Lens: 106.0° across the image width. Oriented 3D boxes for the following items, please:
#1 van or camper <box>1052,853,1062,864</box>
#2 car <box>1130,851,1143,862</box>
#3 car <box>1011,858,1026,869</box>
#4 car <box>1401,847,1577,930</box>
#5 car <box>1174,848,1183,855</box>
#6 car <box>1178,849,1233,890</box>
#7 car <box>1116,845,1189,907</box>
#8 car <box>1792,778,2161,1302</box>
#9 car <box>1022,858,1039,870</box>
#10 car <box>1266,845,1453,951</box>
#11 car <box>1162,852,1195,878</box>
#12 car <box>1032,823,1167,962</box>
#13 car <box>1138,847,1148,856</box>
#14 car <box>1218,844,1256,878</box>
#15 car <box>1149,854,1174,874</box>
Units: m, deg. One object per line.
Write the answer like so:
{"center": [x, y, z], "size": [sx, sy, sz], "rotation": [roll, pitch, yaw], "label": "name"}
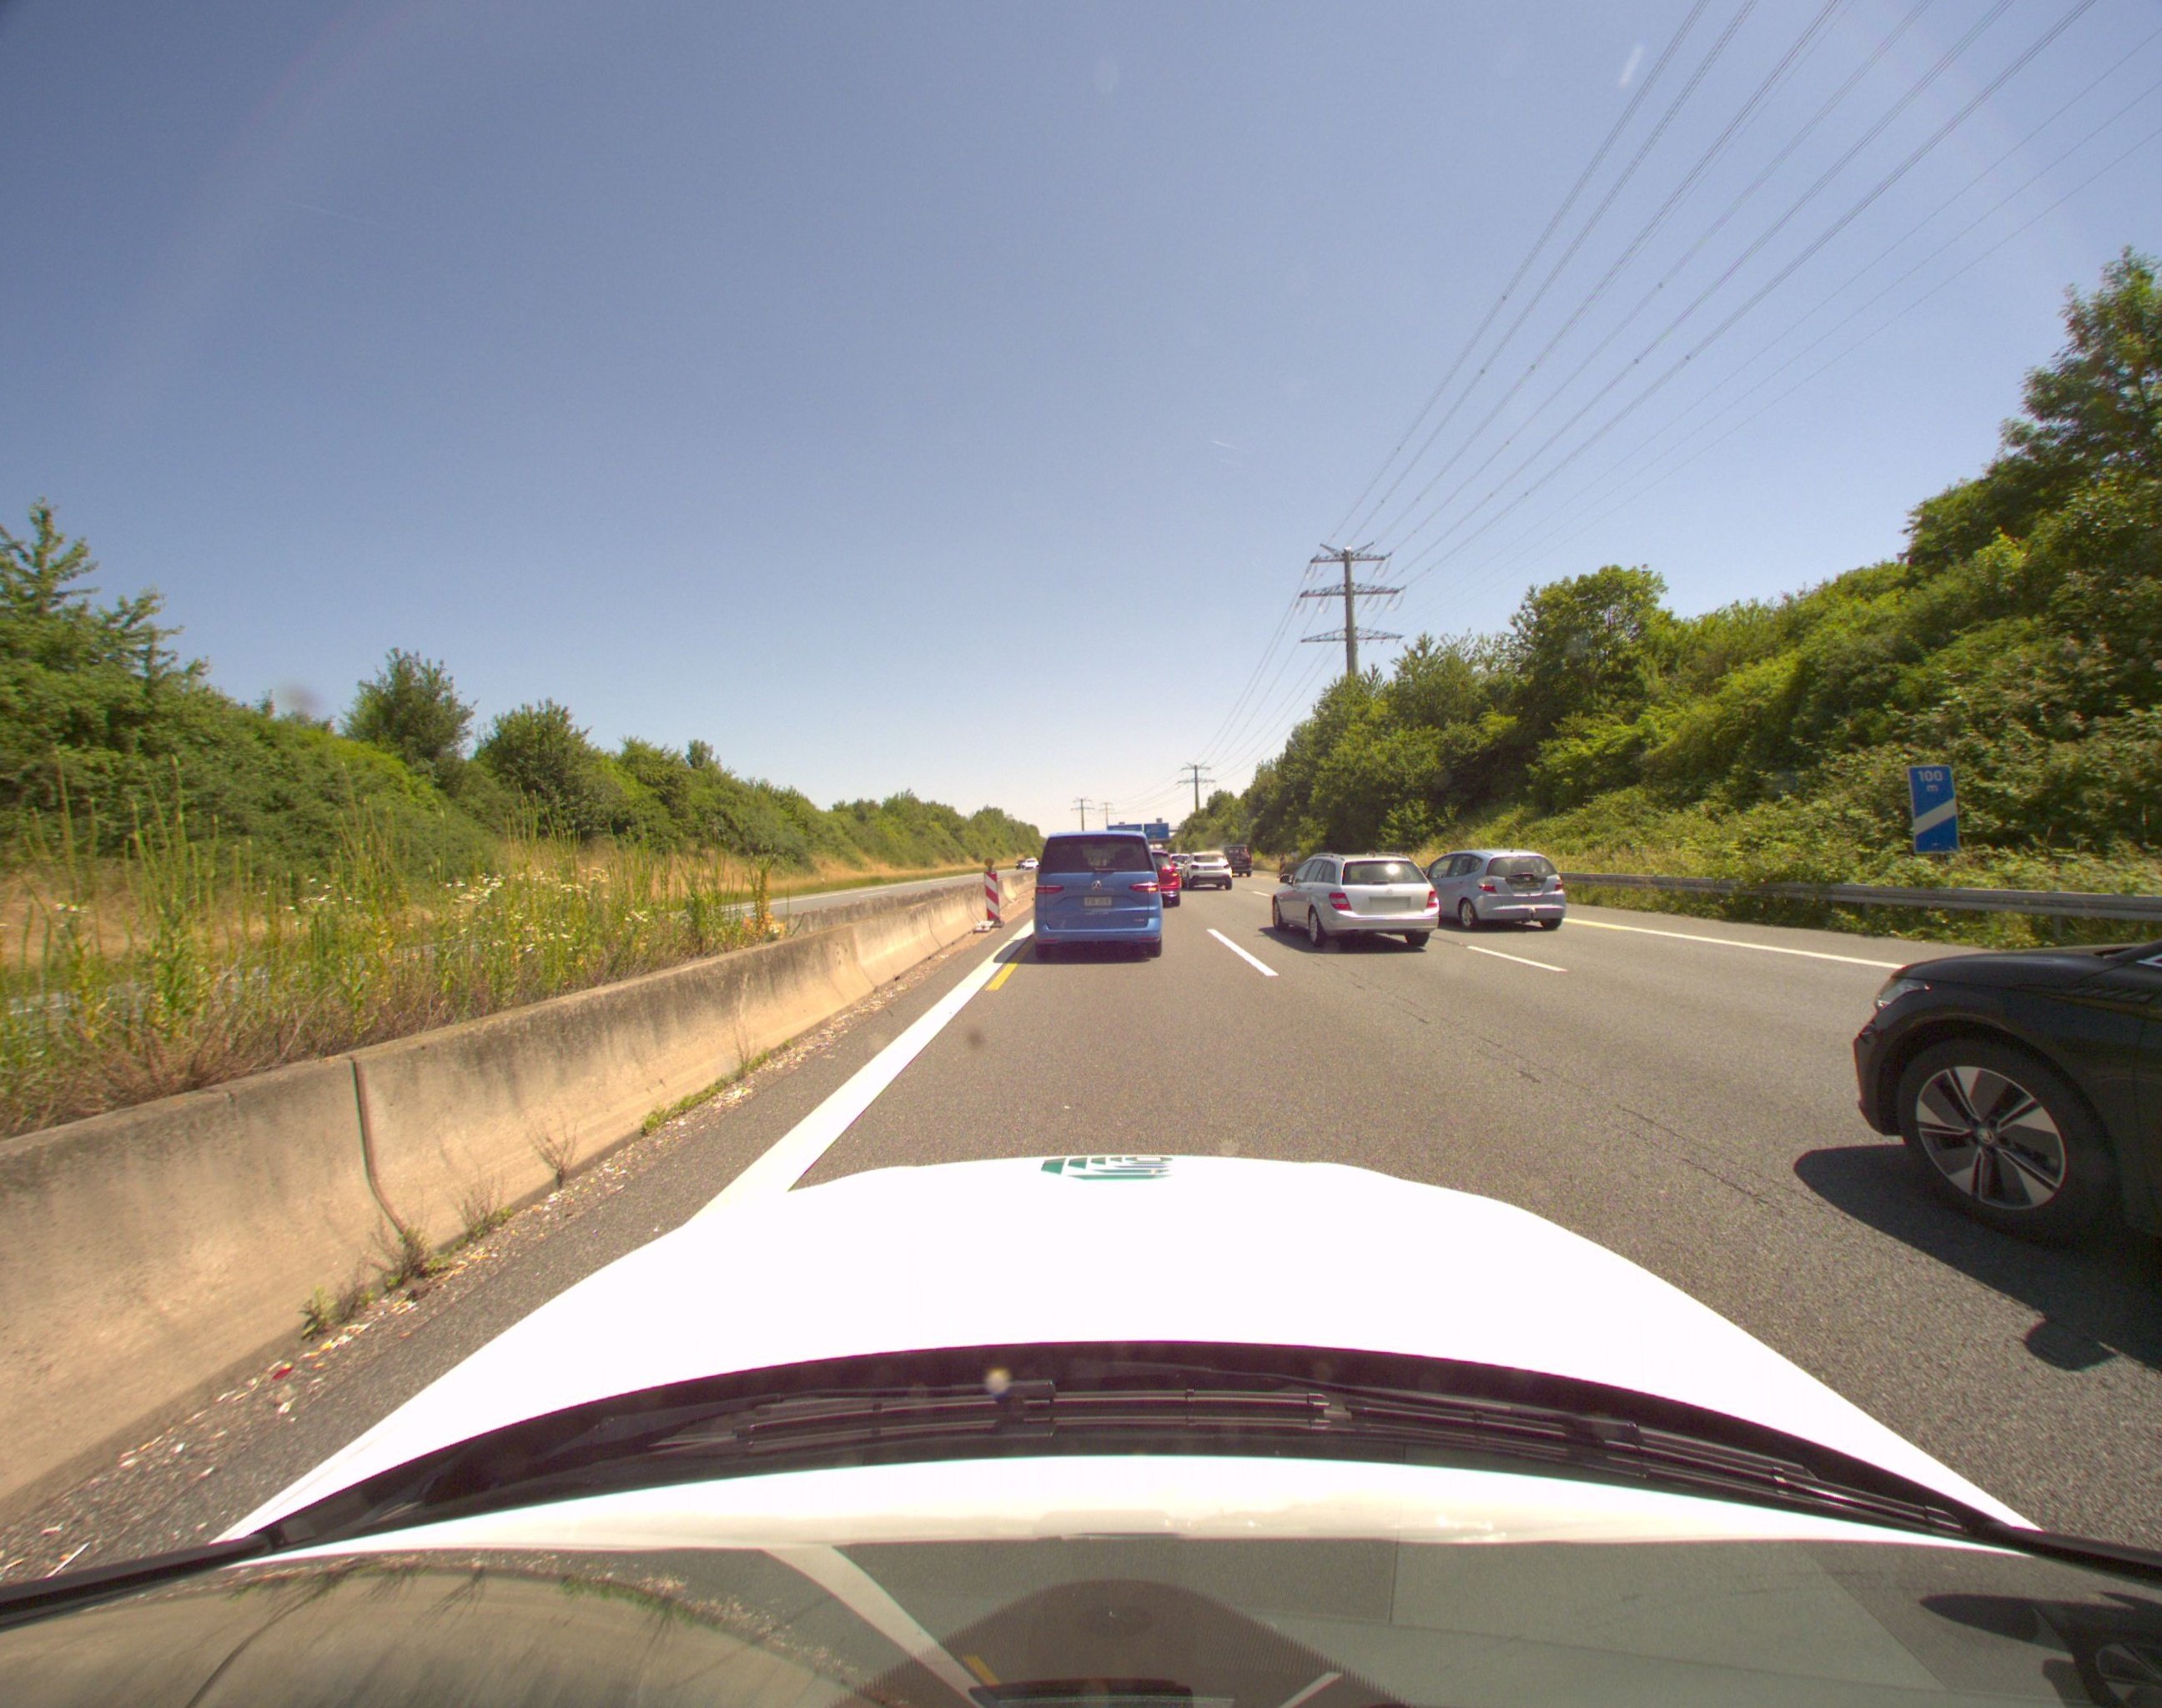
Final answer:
{"center": [-6.628, 1.288, 223.130], "size": [2.215, 2.710, 7.081], "rotation": [-4, 0, 1], "label": "van or camper"}
{"center": [8.183, 0.426, 119.811], "size": [1.791, 1.594, 4.228], "rotation": [0, 0, 2], "label": "car"}
{"center": [-10.753, 1.689, 140.367], "size": [1.986, 1.650, 4.632], "rotation": [-4, 0, 2], "label": "car"}
{"center": [7.909, 0.614, 16.191], "size": [1.694, 1.448, 3.789], "rotation": [0, 0, 2], "label": "car"}
{"center": [24.881, -0.598, 207.170], "size": [1.868, 1.671, 4.360], "rotation": [0, 0, 1], "label": "car"}
{"center": [5.156, 0.619, 34.130], "size": [1.791, 1.594, 4.228], "rotation": [0, 0, 2], "label": "car"}
{"center": [2.036, 0.613, 24.361], "size": [1.868, 1.671, 4.360], "rotation": [0, 0, 1], "label": "car"}
{"center": [4.246, 0.579, 1.707], "size": [1.695, 1.655, 4.430], "rotation": [0, 0, 1], "label": "car"}
{"center": [-7.380, 1.450, 119.575], "size": [1.986, 1.662, 4.231], "rotation": [-3, 0, 2], "label": "car"}
{"center": [4.488, 0.641, 13.862], "size": [1.764, 1.517, 4.360], "rotation": [0, 0, 1], "label": "car"}
{"center": [6.294, 0.700, 52.941], "size": [1.791, 1.594, 4.228], "rotation": [0, 0, 2], "label": "car"}
{"center": [0.299, 0.548, 13.487], "size": [1.868, 1.912, 4.360], "rotation": [0, 0, 1], "label": "car"}
{"center": [17.596, -0.774, 231.323], "size": [2.368, 2.428, 4.228], "rotation": [0, 0, 2], "label": "car"}
{"center": [9.714, 0.428, 51.017], "size": [1.790, 2.014, 4.229], "rotation": [0, 0, 3], "label": "car"}
{"center": [6.641, 0.807, 67.809], "size": [1.791, 1.594, 4.228], "rotation": [0, 0, 2], "label": "car"}
